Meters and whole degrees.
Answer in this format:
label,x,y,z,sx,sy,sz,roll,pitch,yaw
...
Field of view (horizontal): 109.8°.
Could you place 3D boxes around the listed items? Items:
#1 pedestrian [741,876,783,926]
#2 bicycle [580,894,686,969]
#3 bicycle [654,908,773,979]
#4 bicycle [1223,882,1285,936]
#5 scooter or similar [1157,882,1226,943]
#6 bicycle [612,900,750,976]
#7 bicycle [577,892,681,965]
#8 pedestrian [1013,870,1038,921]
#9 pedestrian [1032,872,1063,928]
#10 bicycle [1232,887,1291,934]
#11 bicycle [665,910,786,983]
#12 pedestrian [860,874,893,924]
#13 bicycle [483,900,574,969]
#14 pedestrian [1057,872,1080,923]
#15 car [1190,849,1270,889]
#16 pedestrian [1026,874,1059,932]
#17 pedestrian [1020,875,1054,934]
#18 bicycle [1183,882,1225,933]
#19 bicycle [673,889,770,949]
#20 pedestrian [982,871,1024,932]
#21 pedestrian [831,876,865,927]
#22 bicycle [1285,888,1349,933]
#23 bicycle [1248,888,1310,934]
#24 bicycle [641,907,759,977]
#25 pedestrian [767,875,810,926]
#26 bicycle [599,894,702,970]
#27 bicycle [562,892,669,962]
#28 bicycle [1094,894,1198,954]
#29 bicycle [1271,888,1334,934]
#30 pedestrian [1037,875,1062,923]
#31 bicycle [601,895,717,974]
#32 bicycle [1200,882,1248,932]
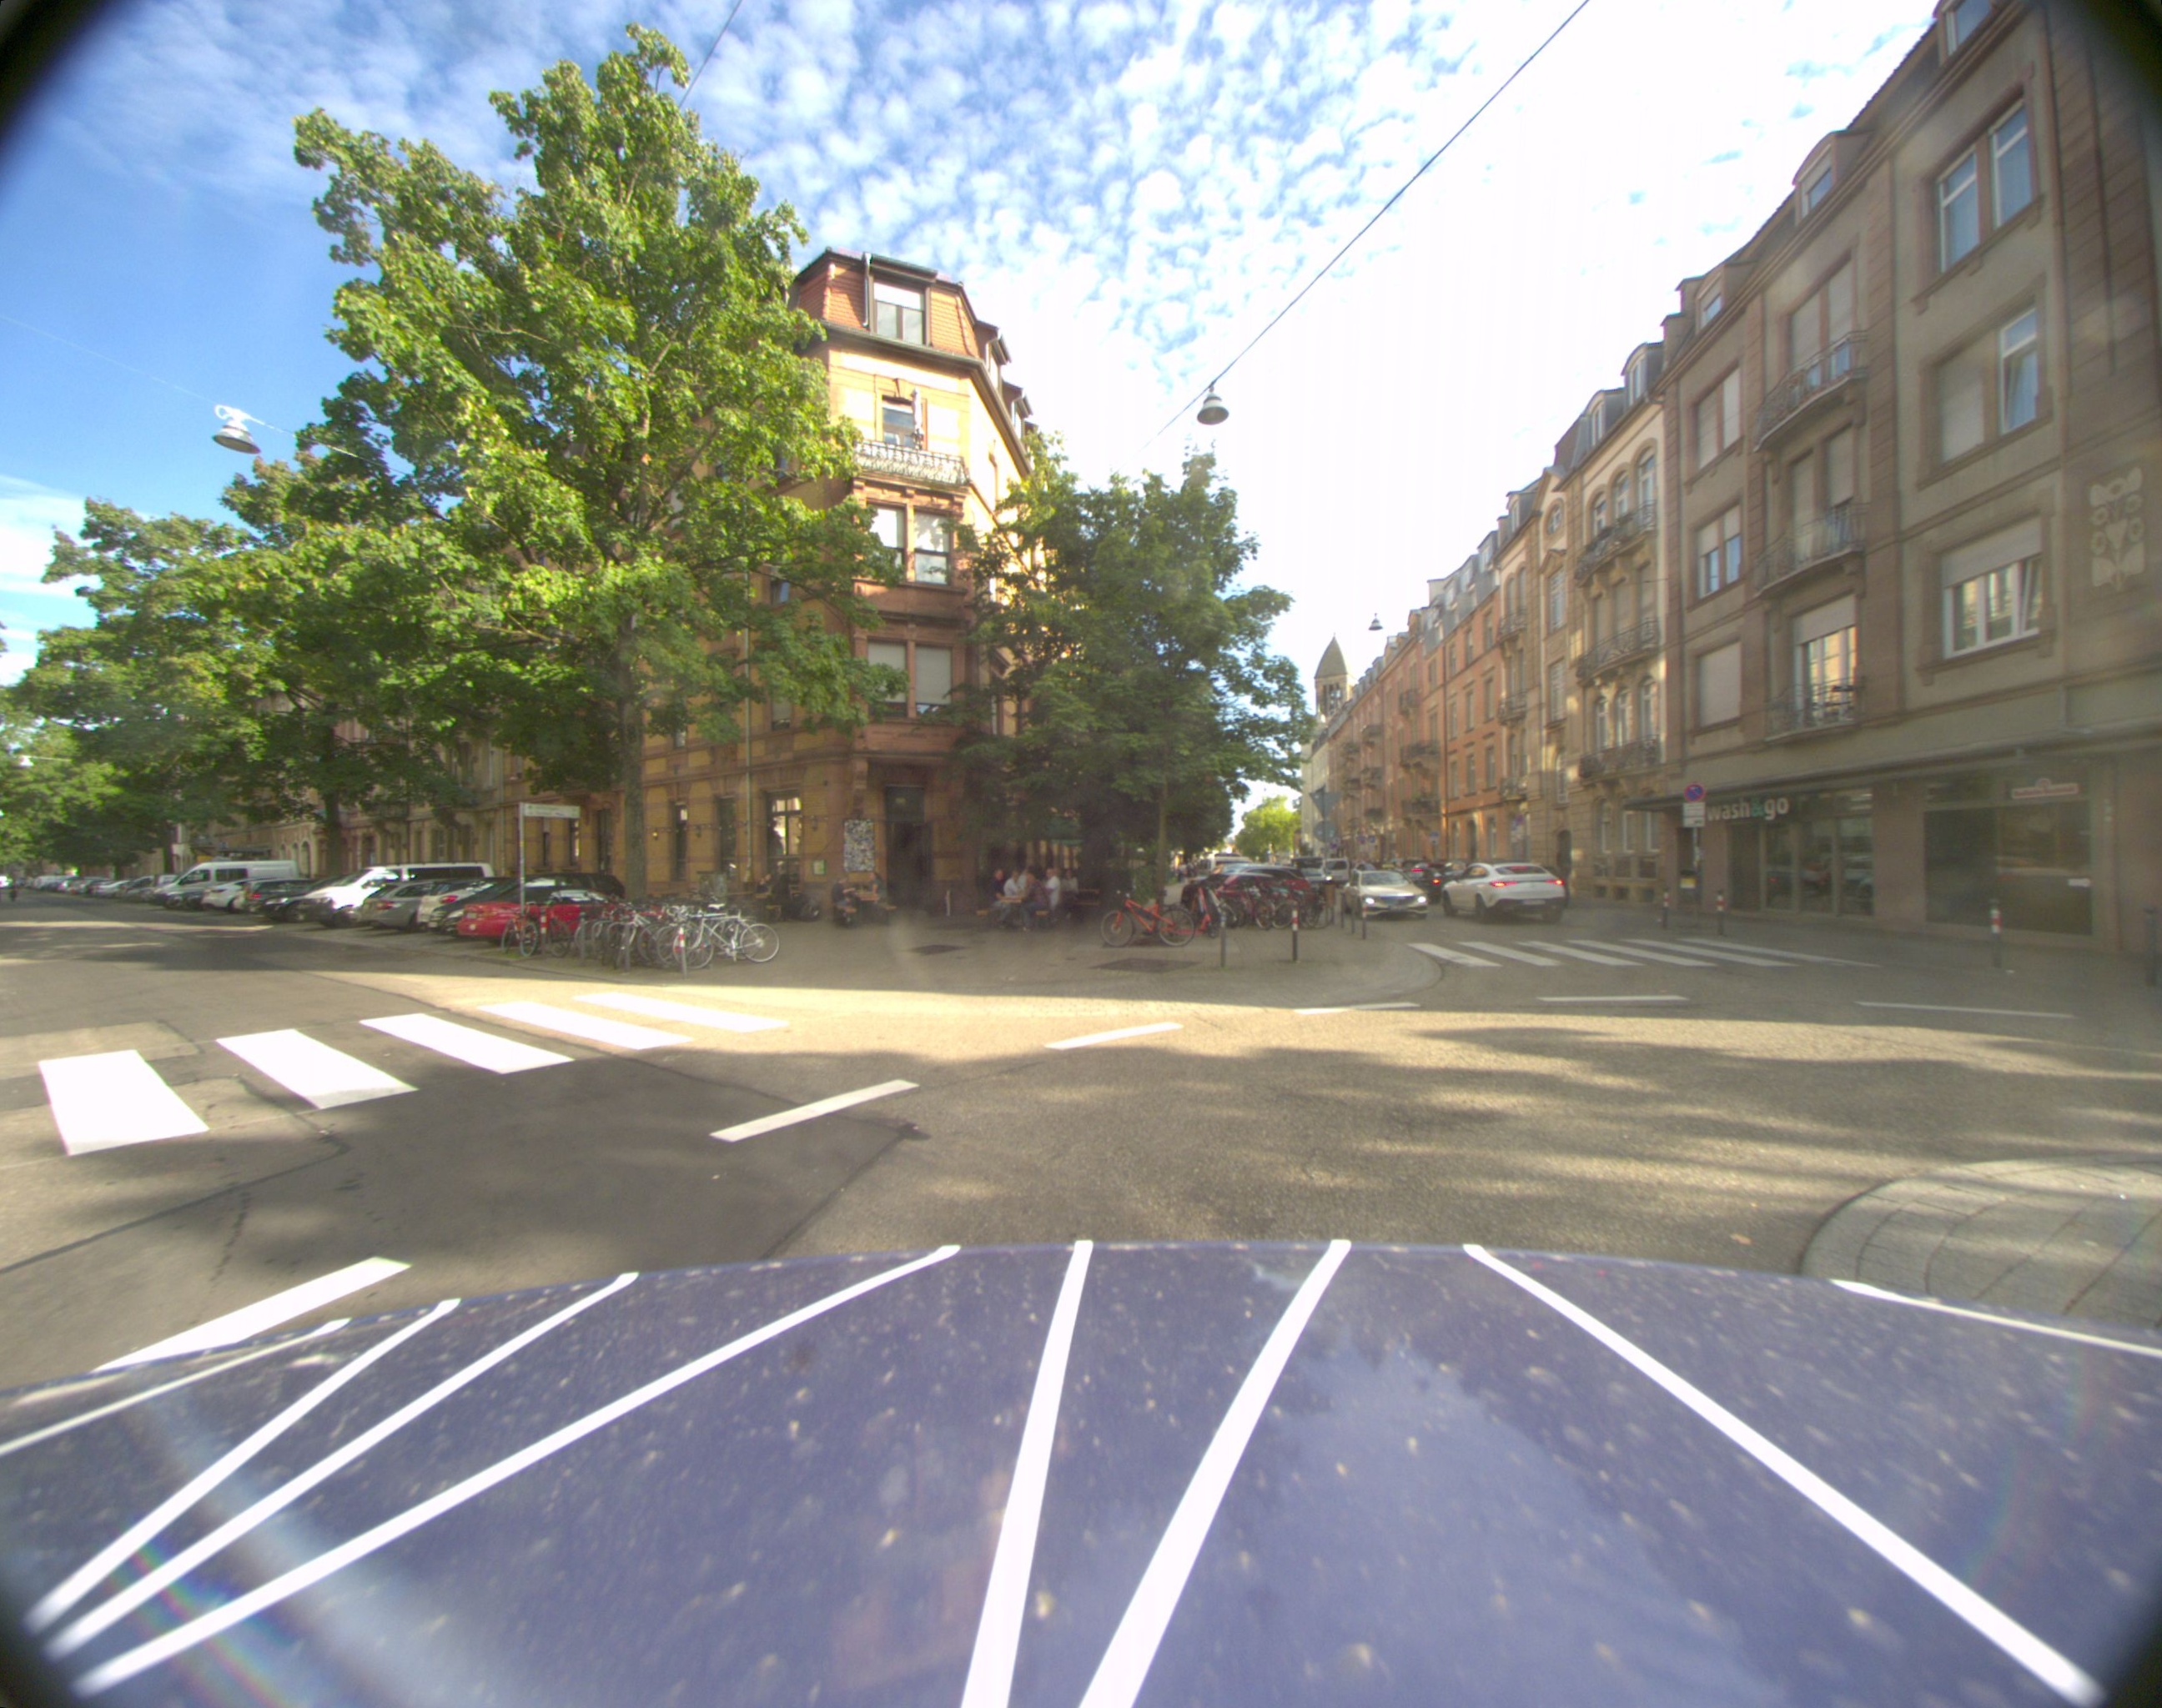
label,x,y,z,sx,sy,sz,roll,pitch,yaw
pedestrian,-8.631,1.259,20.582,0.627,1.278,0.770,-1,2,33
bicycle,-8.408,1.413,14.330,0.447,1.195,1.715,0,2,27
bicycle,-6.133,1.467,12.744,1.715,0.981,0.447,-2,2,-42
bicycle,4.080,1.271,18.093,0.476,1.136,1.835,1,0,-21
scooter or similar,2.276,1.184,15.696,1.289,1.203,0.557,0,-2,30
bicycle,-6.910,1.421,13.227,2.049,1.082,0.447,-2,2,-42
bicycle,-8.716,1.406,14.716,0.447,1.195,1.715,0,2,27
pedestrian,-1.464,1.086,20.001,0.549,1.293,0.621,-1,1,-14
pedestrian,-0.811,1.105,18.512,0.729,1.307,0.608,-1,0,-2
bicycle,4.368,1.350,18.507,0.418,0.979,1.835,1,0,-21
bicycle,-5.787,1.479,12.448,1.715,0.964,0.447,-2,2,-42
pedestrian,-5.386,1.180,20.024,0.510,1.252,0.643,2,3,42
bicycle,-10.527,1.487,14.435,2.493,1.090,0.583,0,4,36
pedestrian,-0.343,1.167,20.464,0.467,1.319,0.621,-1,1,-14
car,9.720,0.964,49.545,4.744,2.408,1.997,-2,-1,-22
pedestrian,-0.902,1.139,17.851,0.729,1.307,0.521,-1,0,-2
pedestrian,-1.003,1.134,17.331,0.729,1.307,0.521,-1,0,-2
bicycle,2.939,1.254,18.287,0.434,1.094,1.673,1,0,-10
bicycle,-7.792,1.379,16.546,0.598,1.108,1.803,0,2,39
pedestrian,-1.829,1.095,17.782,0.715,1.371,0.671,0,1,45
pedestrian,-5.979,1.203,19.496,0.510,1.218,0.643,2,3,42
bicycle,5.895,1.403,19.091,0.472,0.979,1.861,1,0,-21
bicycle,4.855,1.384,18.771,0.472,0.979,1.861,1,0,-21
bicycle,-6.486,1.472,13.007,1.715,0.981,0.447,-2,2,-42
pedestrian,-7.782,1.222,20.213,0.627,1.278,0.770,-1,2,33
bicycle,-7.917,1.405,14.068,0.447,1.195,1.714,0,2,21
bicycle,-9.171,1.404,15.019,0.447,1.195,1.716,1,2,39
bicycle,1.201,1.267,13.957,1.854,1.029,0.684,0,0,9
bicycle,5.483,1.392,18.931,0.472,0.979,1.861,1,0,-21
pedestrian,-0.836,1.177,19.985,0.549,1.225,0.621,-1,1,-14
bicycle,-7.463,1.394,13.503,1.715,1.195,0.447,-2,2,-42
bicycle,3.444,1.263,18.449,0.475,1.094,1.673,1,0,-14
